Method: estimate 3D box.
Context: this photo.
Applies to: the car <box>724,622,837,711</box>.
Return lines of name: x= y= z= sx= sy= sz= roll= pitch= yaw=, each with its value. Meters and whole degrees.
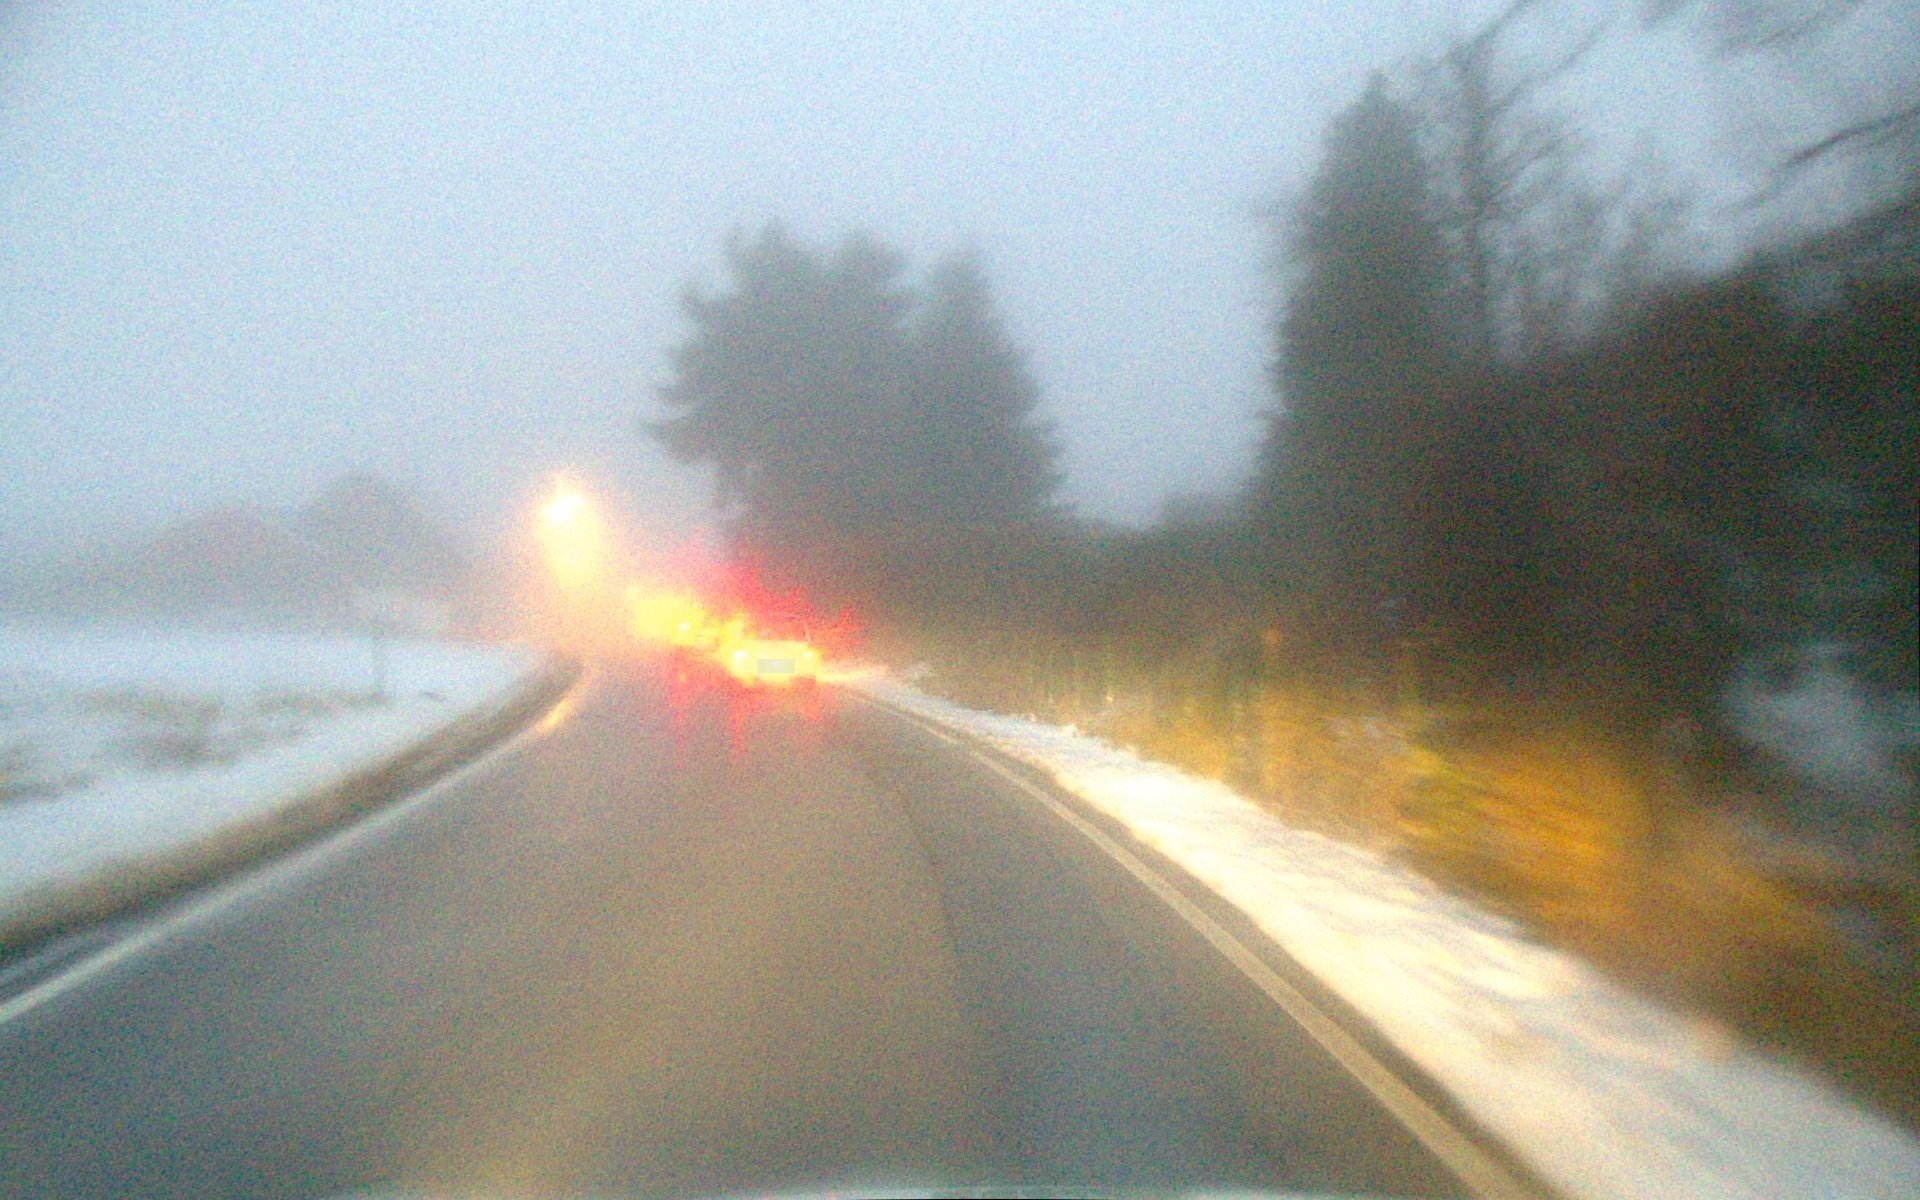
car: x=-3.405 y=1.197 z=30.861 sx=1.956 sy=1.534 sz=3.992 roll=0 pitch=-1 yaw=-8

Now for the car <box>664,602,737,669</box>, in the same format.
car: x=-7.285 y=0.994 z=46.544 sx=1.956 sy=1.780 sz=3.991 roll=0 pitch=-1 yaw=-9
